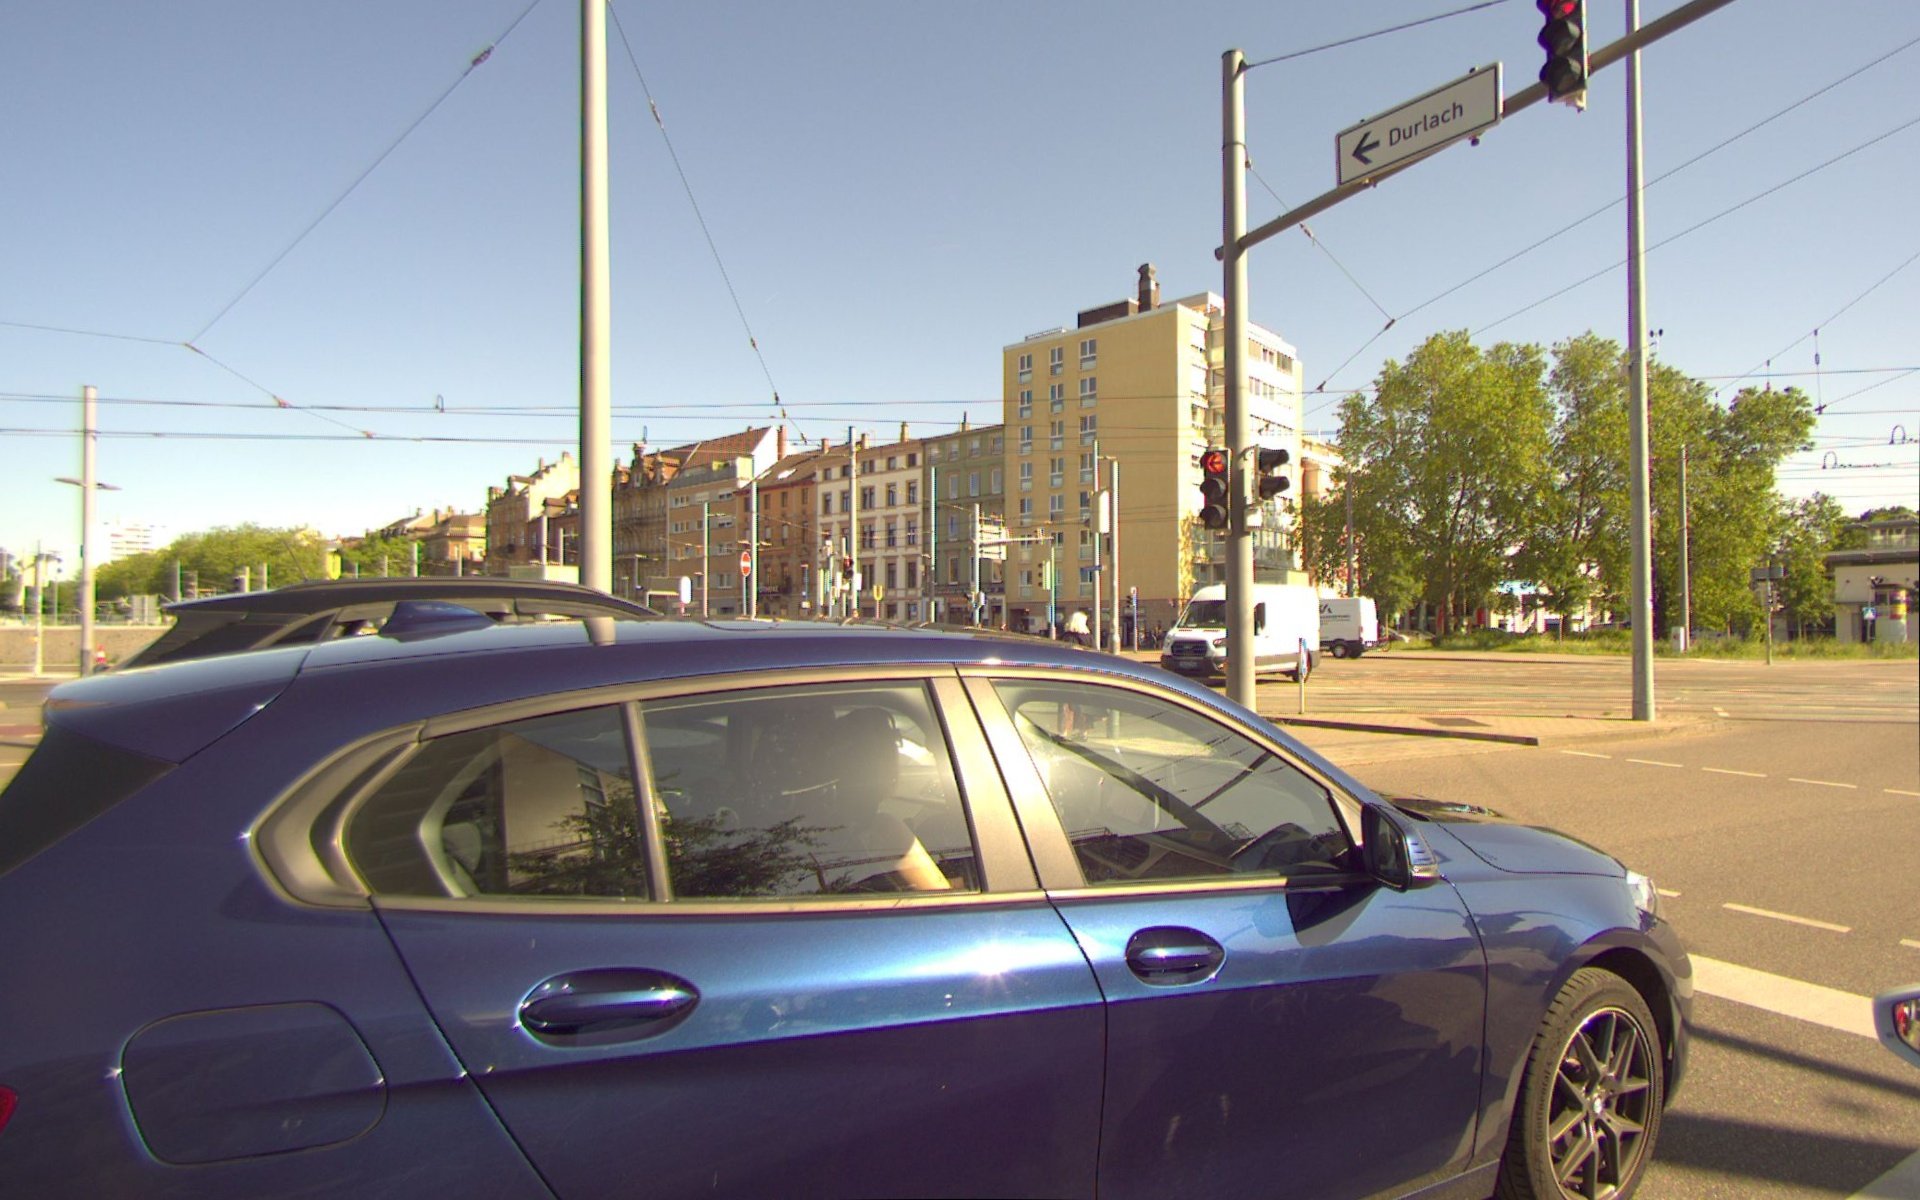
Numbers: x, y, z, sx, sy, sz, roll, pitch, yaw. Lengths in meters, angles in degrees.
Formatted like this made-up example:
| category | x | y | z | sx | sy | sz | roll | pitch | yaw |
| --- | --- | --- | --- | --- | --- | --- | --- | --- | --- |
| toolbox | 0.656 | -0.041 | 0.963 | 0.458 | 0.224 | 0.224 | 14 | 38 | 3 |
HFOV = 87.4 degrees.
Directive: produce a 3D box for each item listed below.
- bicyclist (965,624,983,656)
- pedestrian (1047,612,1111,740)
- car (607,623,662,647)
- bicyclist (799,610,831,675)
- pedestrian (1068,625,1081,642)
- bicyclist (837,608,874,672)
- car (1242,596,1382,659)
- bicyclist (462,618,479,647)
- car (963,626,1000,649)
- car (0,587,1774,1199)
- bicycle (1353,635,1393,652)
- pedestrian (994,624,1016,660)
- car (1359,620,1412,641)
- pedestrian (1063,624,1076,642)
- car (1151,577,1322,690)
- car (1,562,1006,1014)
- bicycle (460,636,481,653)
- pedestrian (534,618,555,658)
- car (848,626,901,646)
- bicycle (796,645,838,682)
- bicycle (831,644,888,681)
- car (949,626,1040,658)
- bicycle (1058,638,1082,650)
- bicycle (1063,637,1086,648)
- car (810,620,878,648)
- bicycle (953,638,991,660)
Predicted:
| category | x | y | z | sx | sy | sz | roll | pitch | yaw |
| --- | --- | --- | --- | --- | --- | --- | --- | --- | --- |
| bicyclist | 0.644 | 1.840 | 46.293 | 0.609 | 1.462 | 0.614 | 1 | -1 | -30 |
| pedestrian | 1.487 | 0.938 | 12.584 | 0.747 | 1.575 | 0.357 | 0 | -1 | -6 |
| car | -23.560 | 2.520 | 72.580 | 4.245 | 1.675 | 1.849 | -2 | -3 | 41 |
| bicyclist | -3.796 | 1.101 | 26.194 | 0.668 | 1.676 | 0.781 | 0 | -1 | -21 |
| pedestrian | 7.795 | 2.276 | 68.400 | 0.739 | 1.142 | 0.422 | -1 | -2 | 41 |
| bicyclist | -2.774 | 1.051 | 26.683 | 0.672 | 1.676 | 0.777 | 1 | -1 | -35 |
| car | 16.426 | 1.272 | 47.134 | 5.838 | 2.780 | 2.133 | -1 | -2 | 42 |
| bicyclist | -25.441 | 1.697 | 52.168 | 0.672 | 1.474 | 0.777 | 1 | -1 | -35 |
| car | 1.386 | 2.488 | 67.006 | 1.745 | 1.446 | 3.873 | 0 | -2 | -10 |
| car | 0.093 | 0.750 | 2.513 | 3.984 | 1.464 | 1.703 | 1 | 0 | -30 |
| bicycle | 23.046 | 2.406 | 56.022 | 1.983 | 0.925 | 0.559 | -1 | -2 | 42 |
| pedestrian | 2.034 | 1.875 | 45.265 | 0.669 | 1.593 | 0.740 | 1 | -2 | -45 |
| car | 34.812 | 2.514 | 82.158 | 3.691 | 1.684 | 1.586 | -1 | -2 | 42 |
| pedestrian | 7.320 | 2.222 | 67.187 | 0.738 | 1.220 | 0.422 | -1 | -2 | 40 |
| car | 7.041 | 0.827 | 25.171 | 1.971 | 2.541 | 5.391 | -1 | -2 | 41 |
| car | -1.906 | 0.675 | 5.135 | 3.959 | 1.537 | 1.751 | 1 | -1 | -28 |
| bicycle | -25.419 | 2.302 | 52.159 | 0.672 | 0.890 | 1.880 | 1 | -2 | -35 |
| pedestrian | -18.419 | 1.664 | 44.486 | 0.672 | 1.735 | 0.793 | 1 | -1 | -38 |
| car | -6.295 | 2.647 | 74.438 | 1.749 | 1.446 | 3.863 | -1 | -2 | 39 |
| bicycle | -3.727 | 1.631 | 26.064 | 0.668 | 0.890 | 1.889 | 1 | -2 | -22 |
| bicycle | -2.675 | 1.632 | 26.536 | 0.672 | 0.890 | 1.880 | 1 | -2 | -35 |
| car | 1.654 | 2.071 | 49.920 | 1.853 | 1.521 | 4.507 | 1 | -2 | -45 |
| bicycle | 7.344 | 2.948 | 67.154 | 1.610 | 0.769 | 0.422 | -1 | -2 | 40 |
| bicycle | 7.785 | 2.917 | 68.397 | 1.610 | 0.727 | 0.422 | -1 | -2 | 41 |
| car | -7.190 | 2.062 | 62.084 | 4.244 | 1.675 | 1.849 | -1 | -2 | 40 |
| bicycle | 0.556 | 2.247 | 46.227 | 1.666 | 0.958 | 0.614 | 1 | -1 | -30 |
